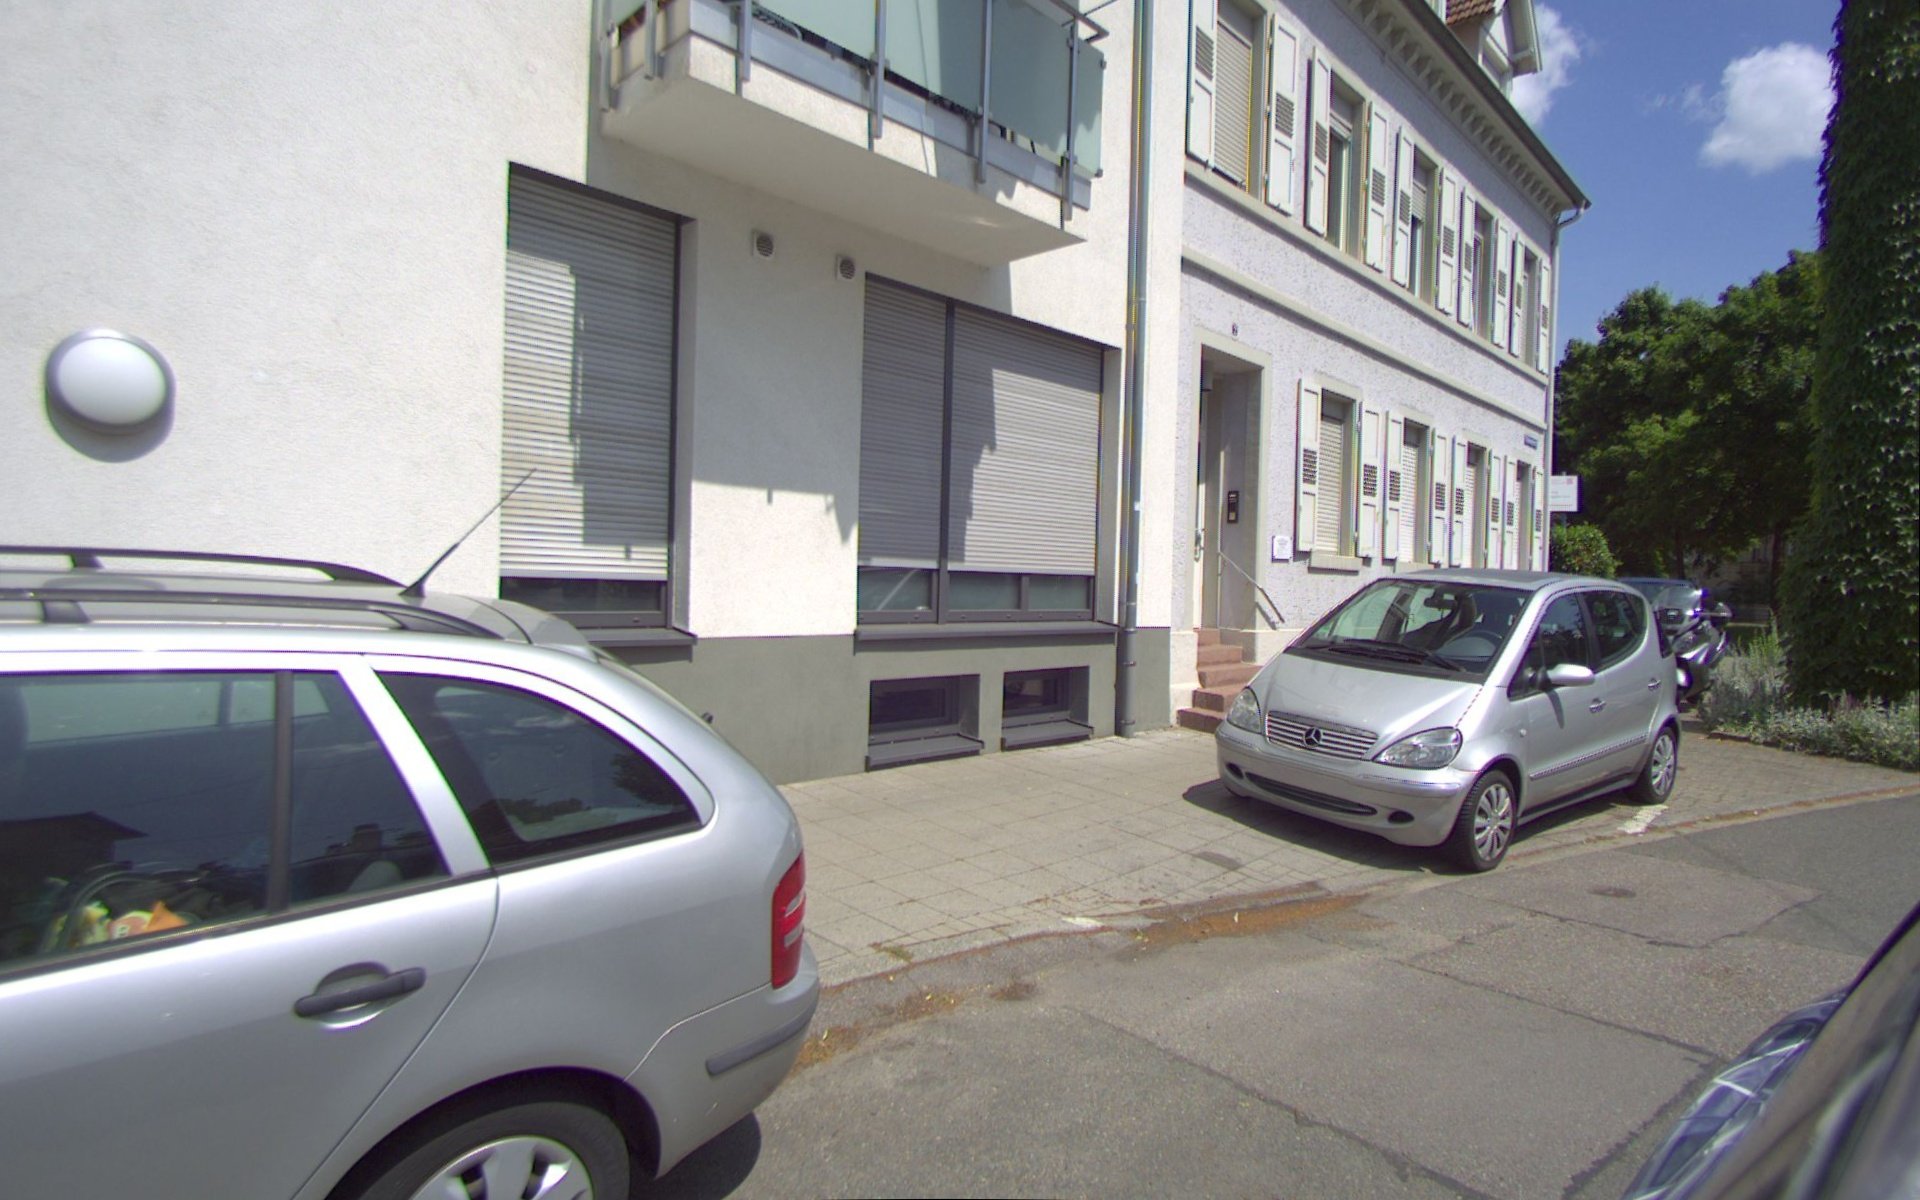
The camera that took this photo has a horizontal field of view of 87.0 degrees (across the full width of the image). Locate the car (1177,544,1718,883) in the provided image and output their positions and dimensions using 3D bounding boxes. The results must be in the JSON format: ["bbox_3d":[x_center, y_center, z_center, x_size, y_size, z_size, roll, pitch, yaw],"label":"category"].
[{"bbox_3d":[3.389,0.505,6.804,3.731,1.630,1.732,-1,4,-38],"label":"car"}]

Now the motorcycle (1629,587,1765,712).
[{"bbox_3d":[8.963,0.547,12.269,2.297,1.369,0.801,0,1,-41],"label":"motorcycle"}]

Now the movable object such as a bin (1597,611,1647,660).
[{"bbox_3d":[13.627,0.717,20.847,0.621,0.973,0.618,1,1,-28],"label":"movable object such as a bin"}]

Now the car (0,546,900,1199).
[{"bbox_3d":[-2.229,0.672,1.677,3.972,1.450,1.731,0,5,-41],"label":"car"}]

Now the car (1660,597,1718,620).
[{"bbox_3d":[56.019,0.612,77.852,1.968,1.638,4.173,1,1,10],"label":"car"}]

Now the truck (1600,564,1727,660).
[{"bbox_3d":[16.708,0.245,24.284,1.900,1.950,5.226,4,2,29],"label":"truck"}]
